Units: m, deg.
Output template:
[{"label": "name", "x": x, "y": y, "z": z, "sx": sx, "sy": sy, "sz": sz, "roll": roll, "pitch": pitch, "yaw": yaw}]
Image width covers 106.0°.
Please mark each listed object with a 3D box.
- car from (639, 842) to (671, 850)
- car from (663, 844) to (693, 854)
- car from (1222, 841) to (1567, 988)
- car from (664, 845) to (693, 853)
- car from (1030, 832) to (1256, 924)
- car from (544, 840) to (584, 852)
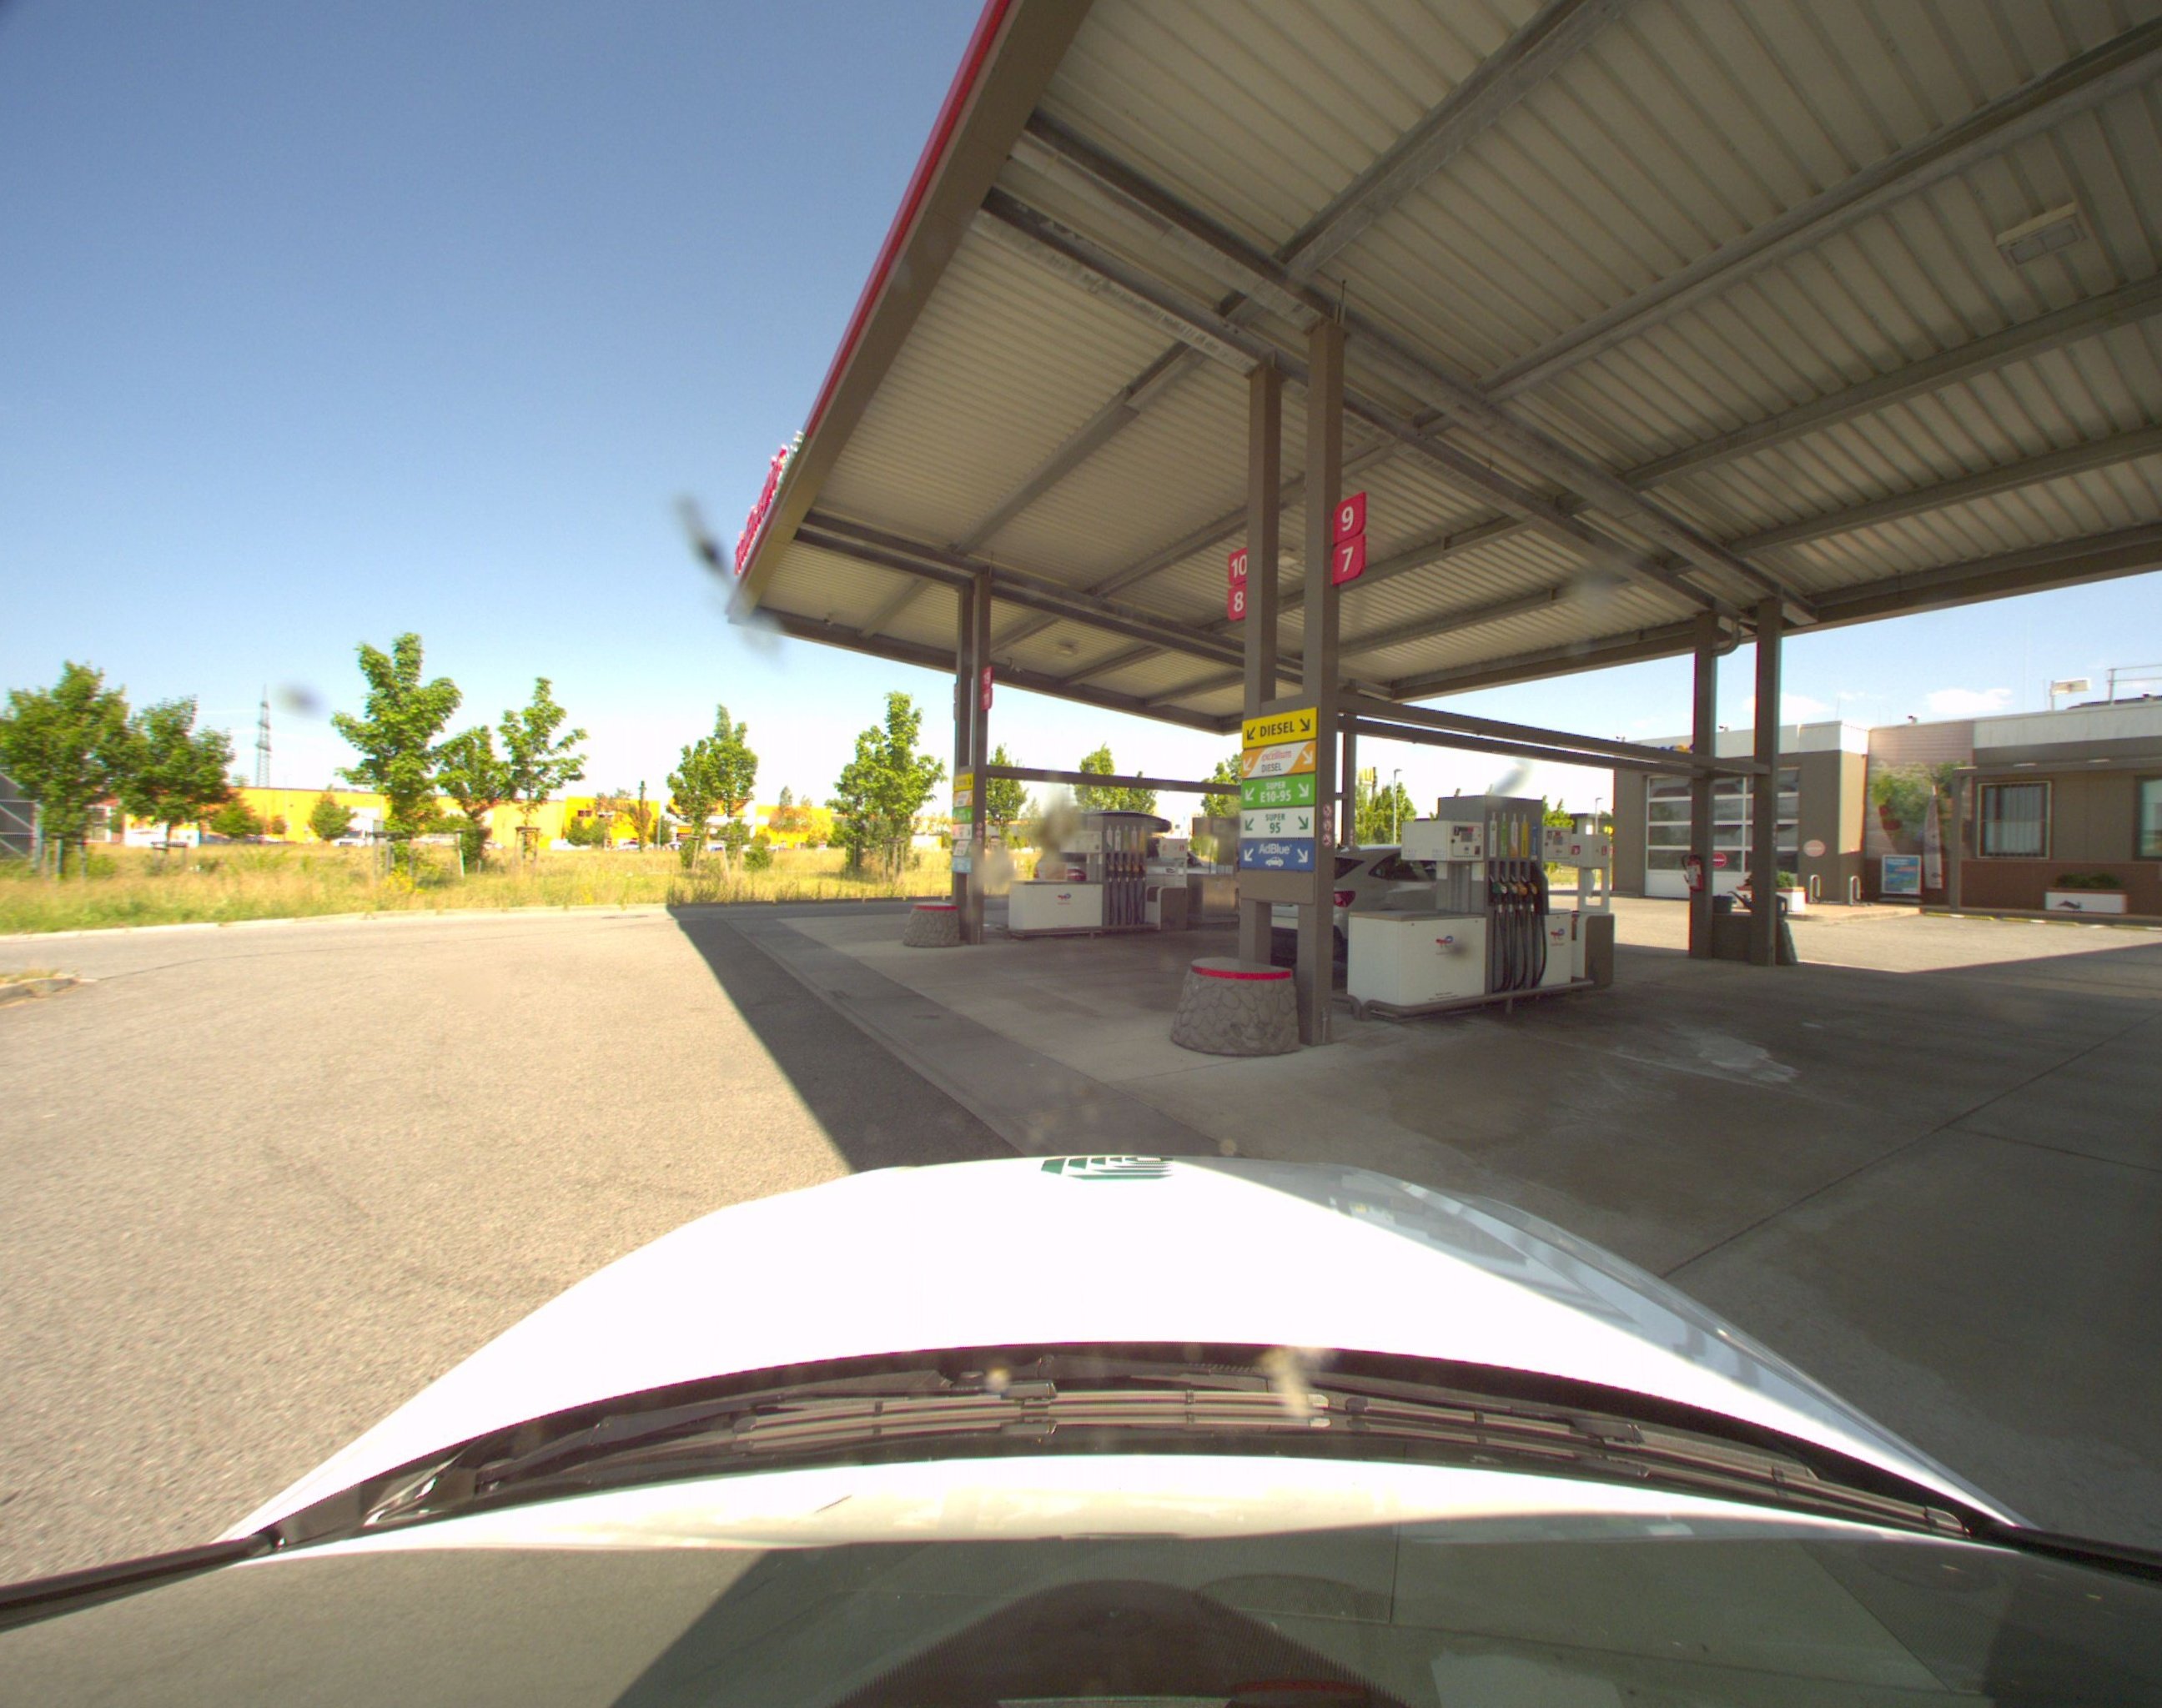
[{"label": "car", "x": -57.195, "y": -1.101, "z": 109.418, "sx": 3.721, "sy": 1.113, "sz": 1.579, "roll": 0, "pitch": 0, "yaw": -28}, {"label": "car", "x": -63.271, "y": -0.749, "z": 127.814, "sx": 4.180, "sy": 1.470, "sz": 1.656, "roll": 0, "pitch": 0, "yaw": -28}, {"label": "car", "x": 4.056, "y": 0.625, "z": 10.376, "sx": 4.338, "sy": 1.541, "sz": 1.769, "roll": 0, "pitch": 1, "yaw": -30}, {"label": "car", "x": -62.190, "y": -0.773, "z": 125.932, "sx": 4.027, "sy": 1.299, "sz": 1.741, "roll": 0, "pitch": 0, "yaw": -28}, {"label": "car", "x": 1.357, "y": 0.424, "z": 16.975, "sx": 4.553, "sy": 1.687, "sz": 1.846, "roll": 0, "pitch": 1, "yaw": -34}, {"label": "car", "x": -69.423, "y": -1.084, "z": 109.408, "sx": 4.396, "sy": 1.548, "sz": 1.777, "roll": 0, "pitch": 0, "yaw": -28}]
